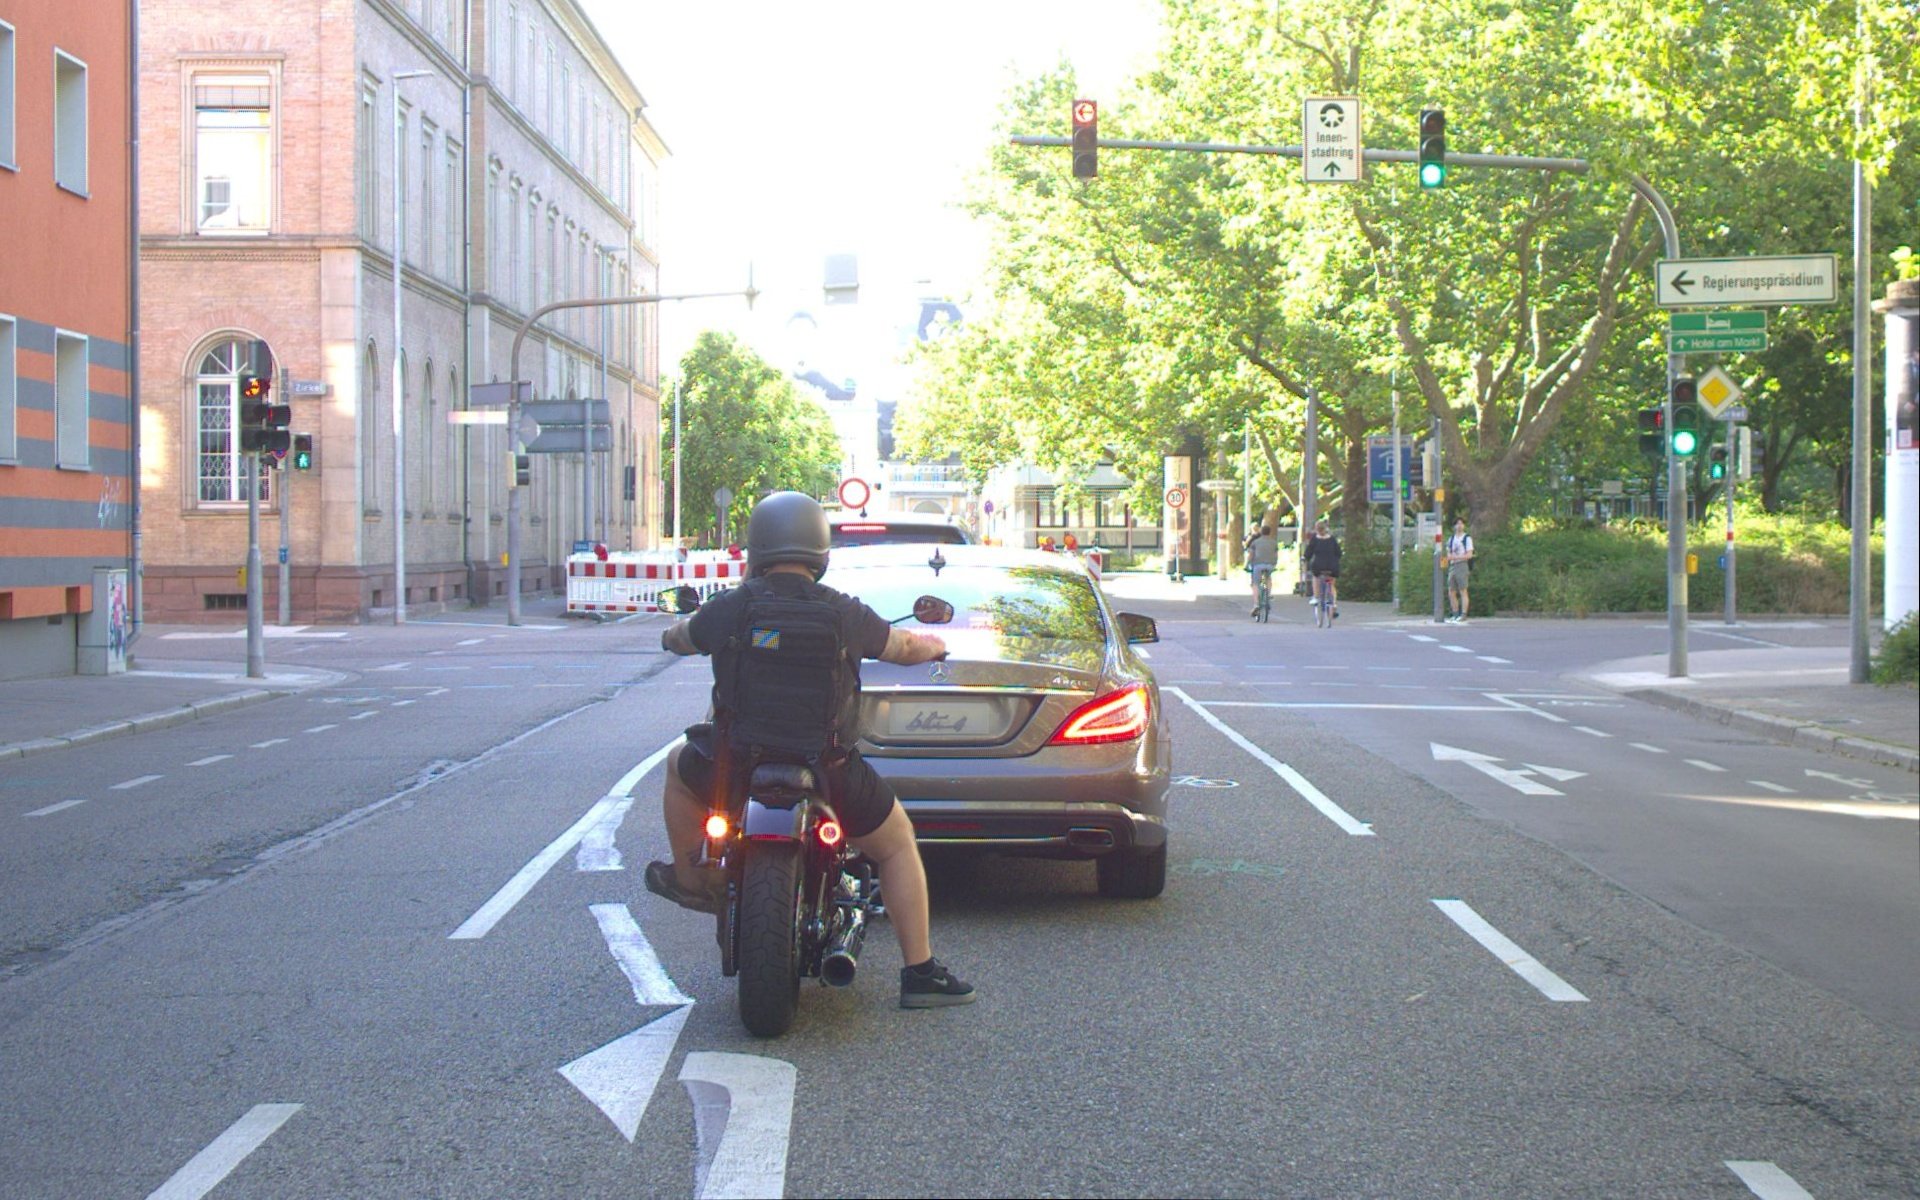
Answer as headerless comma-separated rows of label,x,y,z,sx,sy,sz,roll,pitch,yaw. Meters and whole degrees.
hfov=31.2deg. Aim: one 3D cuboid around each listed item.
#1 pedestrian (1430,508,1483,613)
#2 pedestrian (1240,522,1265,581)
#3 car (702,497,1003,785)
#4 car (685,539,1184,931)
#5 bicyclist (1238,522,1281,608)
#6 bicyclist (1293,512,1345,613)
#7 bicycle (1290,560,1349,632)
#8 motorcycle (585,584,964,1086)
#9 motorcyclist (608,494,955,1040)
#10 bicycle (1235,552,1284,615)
pedestrian,8.451,-0.671,58.496,0.570,1.768,0.625,1,1,-34
pedestrian,7.953,-1.327,93.640,0.592,1.573,0.527,2,1,0
car,-0.772,0.210,22.044,1.630,1.645,3.851,1,1,-6
car,-0.114,0.467,14.605,1.828,1.415,3.815,1,1,-1
bicyclist,5.417,-0.632,62.263,0.656,1.525,0.906,2,1,-1
bicyclist,5.533,-0.583,52.997,0.656,1.525,0.852,2,1,-1
bicycle,5.531,-0.076,52.954,0.656,1.066,1.927,2,1,-1
motorcycle,-0.510,0.625,10.561,1.012,1.302,2.673,0,1,-1
motorcyclist,-0.528,0.474,10.759,1.012,1.596,1.406,0,1,-1
bicycle,5.409,-0.308,62.182,0.656,1.107,2.186,2,1,-1
